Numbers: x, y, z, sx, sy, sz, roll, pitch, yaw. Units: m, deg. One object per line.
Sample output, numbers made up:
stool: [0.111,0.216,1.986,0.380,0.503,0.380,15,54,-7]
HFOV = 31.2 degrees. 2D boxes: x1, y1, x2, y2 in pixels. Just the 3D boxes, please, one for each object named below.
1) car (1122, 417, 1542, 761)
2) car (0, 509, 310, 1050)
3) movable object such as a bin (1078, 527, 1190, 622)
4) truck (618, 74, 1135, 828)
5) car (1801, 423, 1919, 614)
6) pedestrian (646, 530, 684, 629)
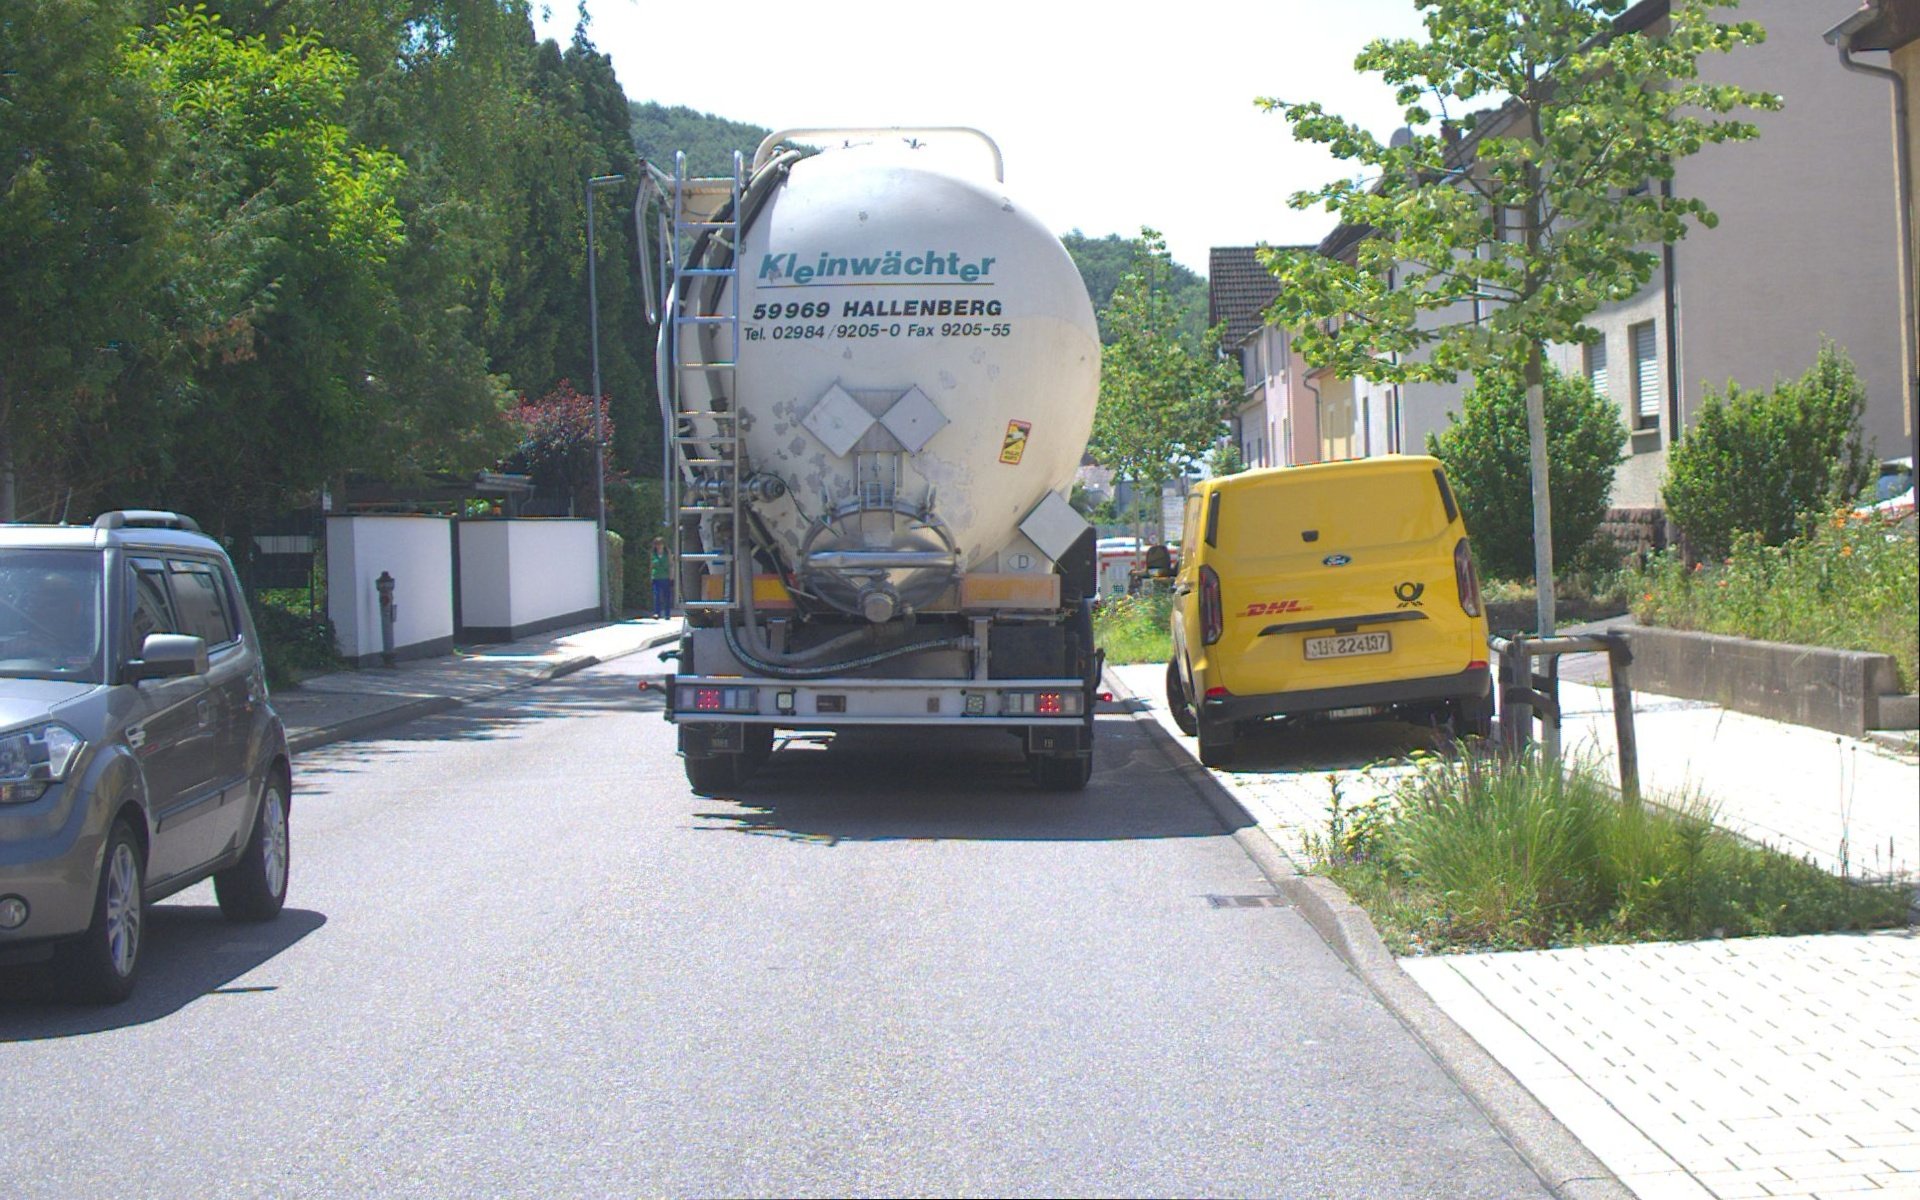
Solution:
car: [2.528,-0.082,24.953,2.189,2.007,5.623,-6,0,-1]
car: [-3.660,0.497,12.435,1.867,1.647,3.949,0,1,0]
movable object such as a bin: [2.739,-0.396,54.666,1.571,1.412,3.041,-2,0,0]
truck: [-0.431,-0.915,24.028,2.750,4.043,10.890,-1,1,0]
car: [10.082,-0.883,31.836,3.987,1.671,1.874,-5,1,-2]
pedestrian: [-5.982,-0.411,69.739,0.720,2.007,0.804,0,0,0]
